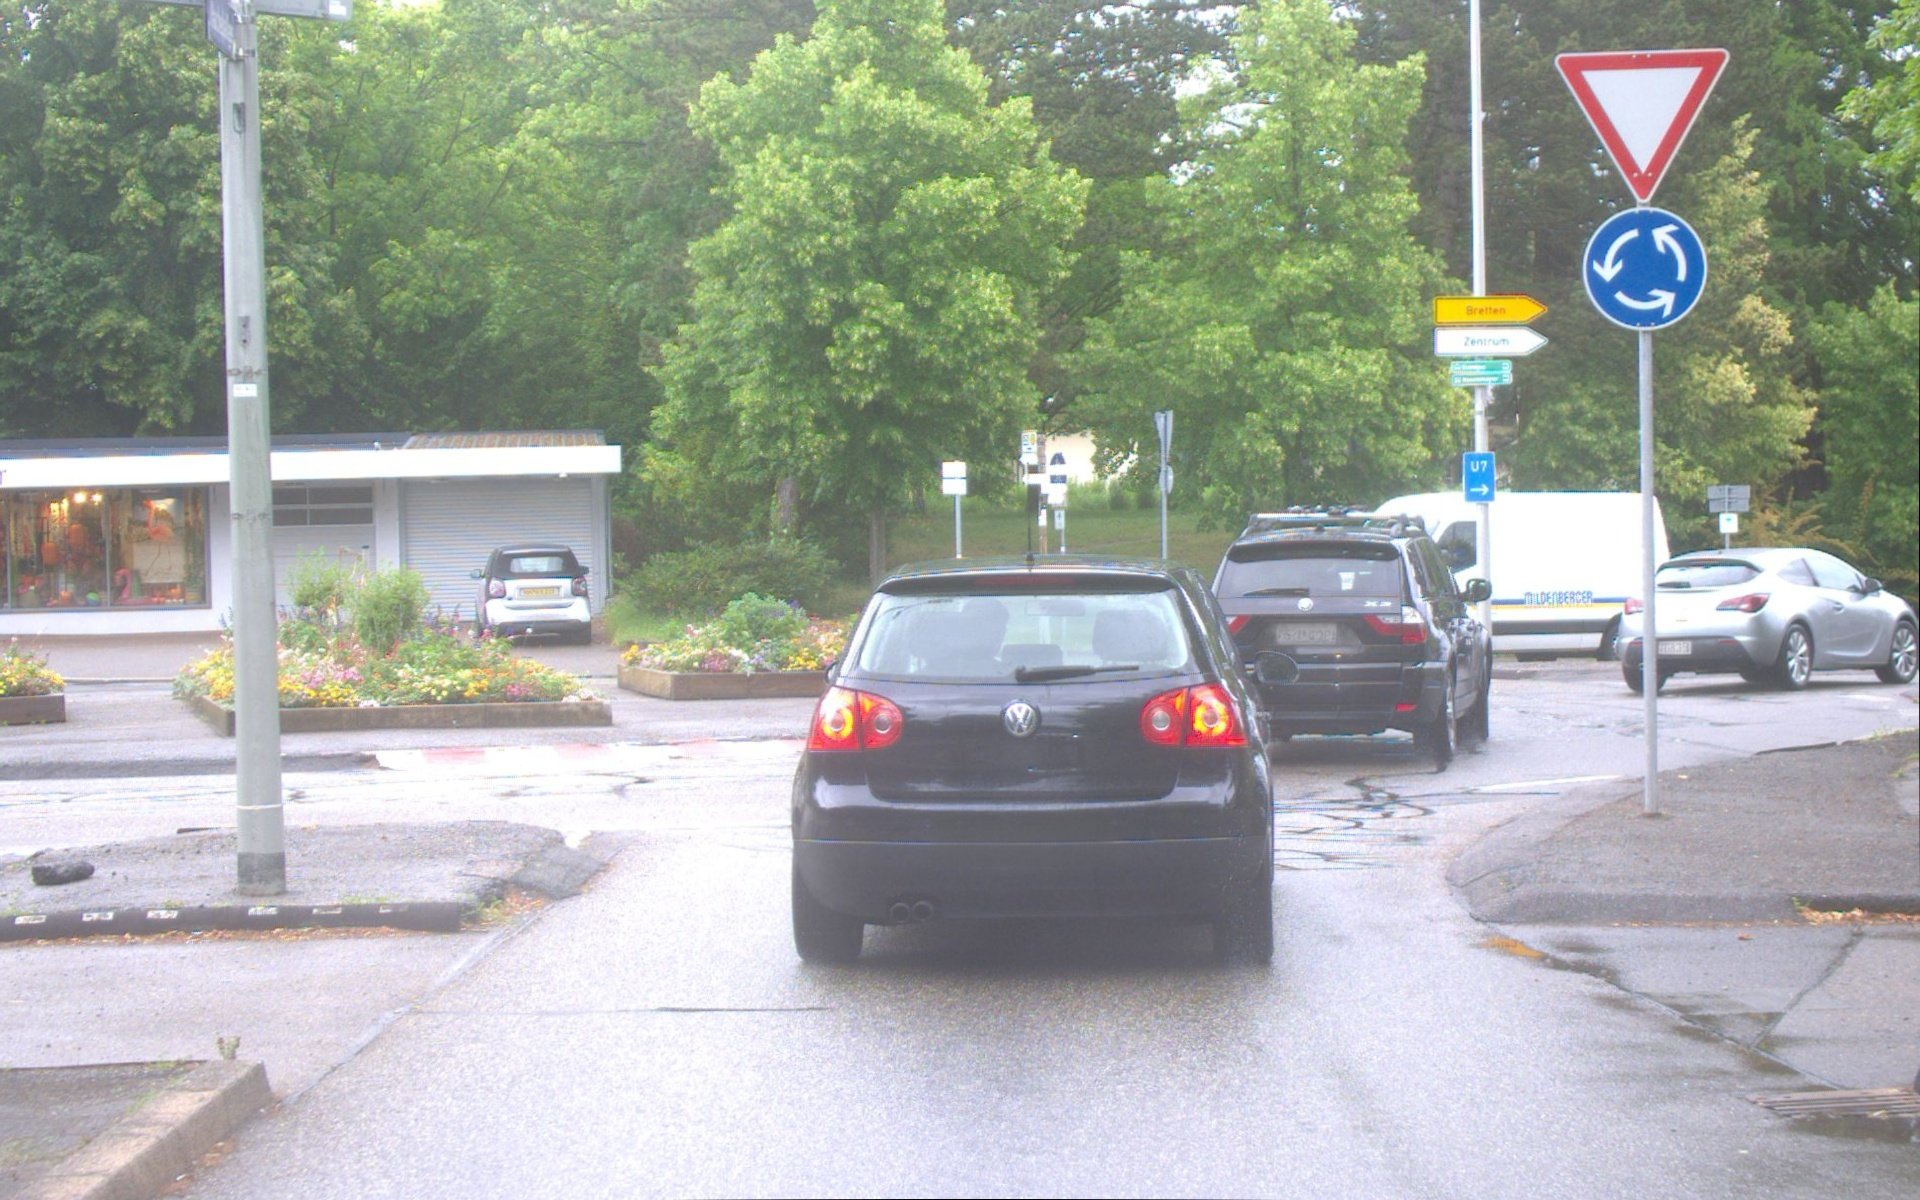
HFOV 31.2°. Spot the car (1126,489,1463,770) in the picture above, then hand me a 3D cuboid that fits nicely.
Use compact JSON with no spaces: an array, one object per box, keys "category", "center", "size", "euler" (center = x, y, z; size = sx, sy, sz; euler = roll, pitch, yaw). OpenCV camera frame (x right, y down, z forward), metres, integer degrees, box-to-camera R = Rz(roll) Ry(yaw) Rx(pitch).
[{"category":"car","center":[2.315,0.182,24.815],"size":[1.764,1.795,4.247],"euler":[-2,0,-3]}]

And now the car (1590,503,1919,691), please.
[{"category":"car","center":[8.409,-0.065,35.758],"size":[1.769,1.795,4.237],"euler":[-2,0,39]}]

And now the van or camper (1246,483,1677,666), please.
[{"category":"van or camper","center":[6.876,-0.331,46.981],"size":[5.650,2.370,2.201],"euler":[0,0,-29]}]

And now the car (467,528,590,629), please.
[{"category":"car","center":[-6.896,-0.359,54.746],"size":[1.812,1.481,3.832],"euler":[-2,1,-8]}]

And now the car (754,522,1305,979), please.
[{"category":"car","center":[0.426,0.501,13.661],"size":[1.765,1.533,3.999],"euler":[0,0,7]}]
